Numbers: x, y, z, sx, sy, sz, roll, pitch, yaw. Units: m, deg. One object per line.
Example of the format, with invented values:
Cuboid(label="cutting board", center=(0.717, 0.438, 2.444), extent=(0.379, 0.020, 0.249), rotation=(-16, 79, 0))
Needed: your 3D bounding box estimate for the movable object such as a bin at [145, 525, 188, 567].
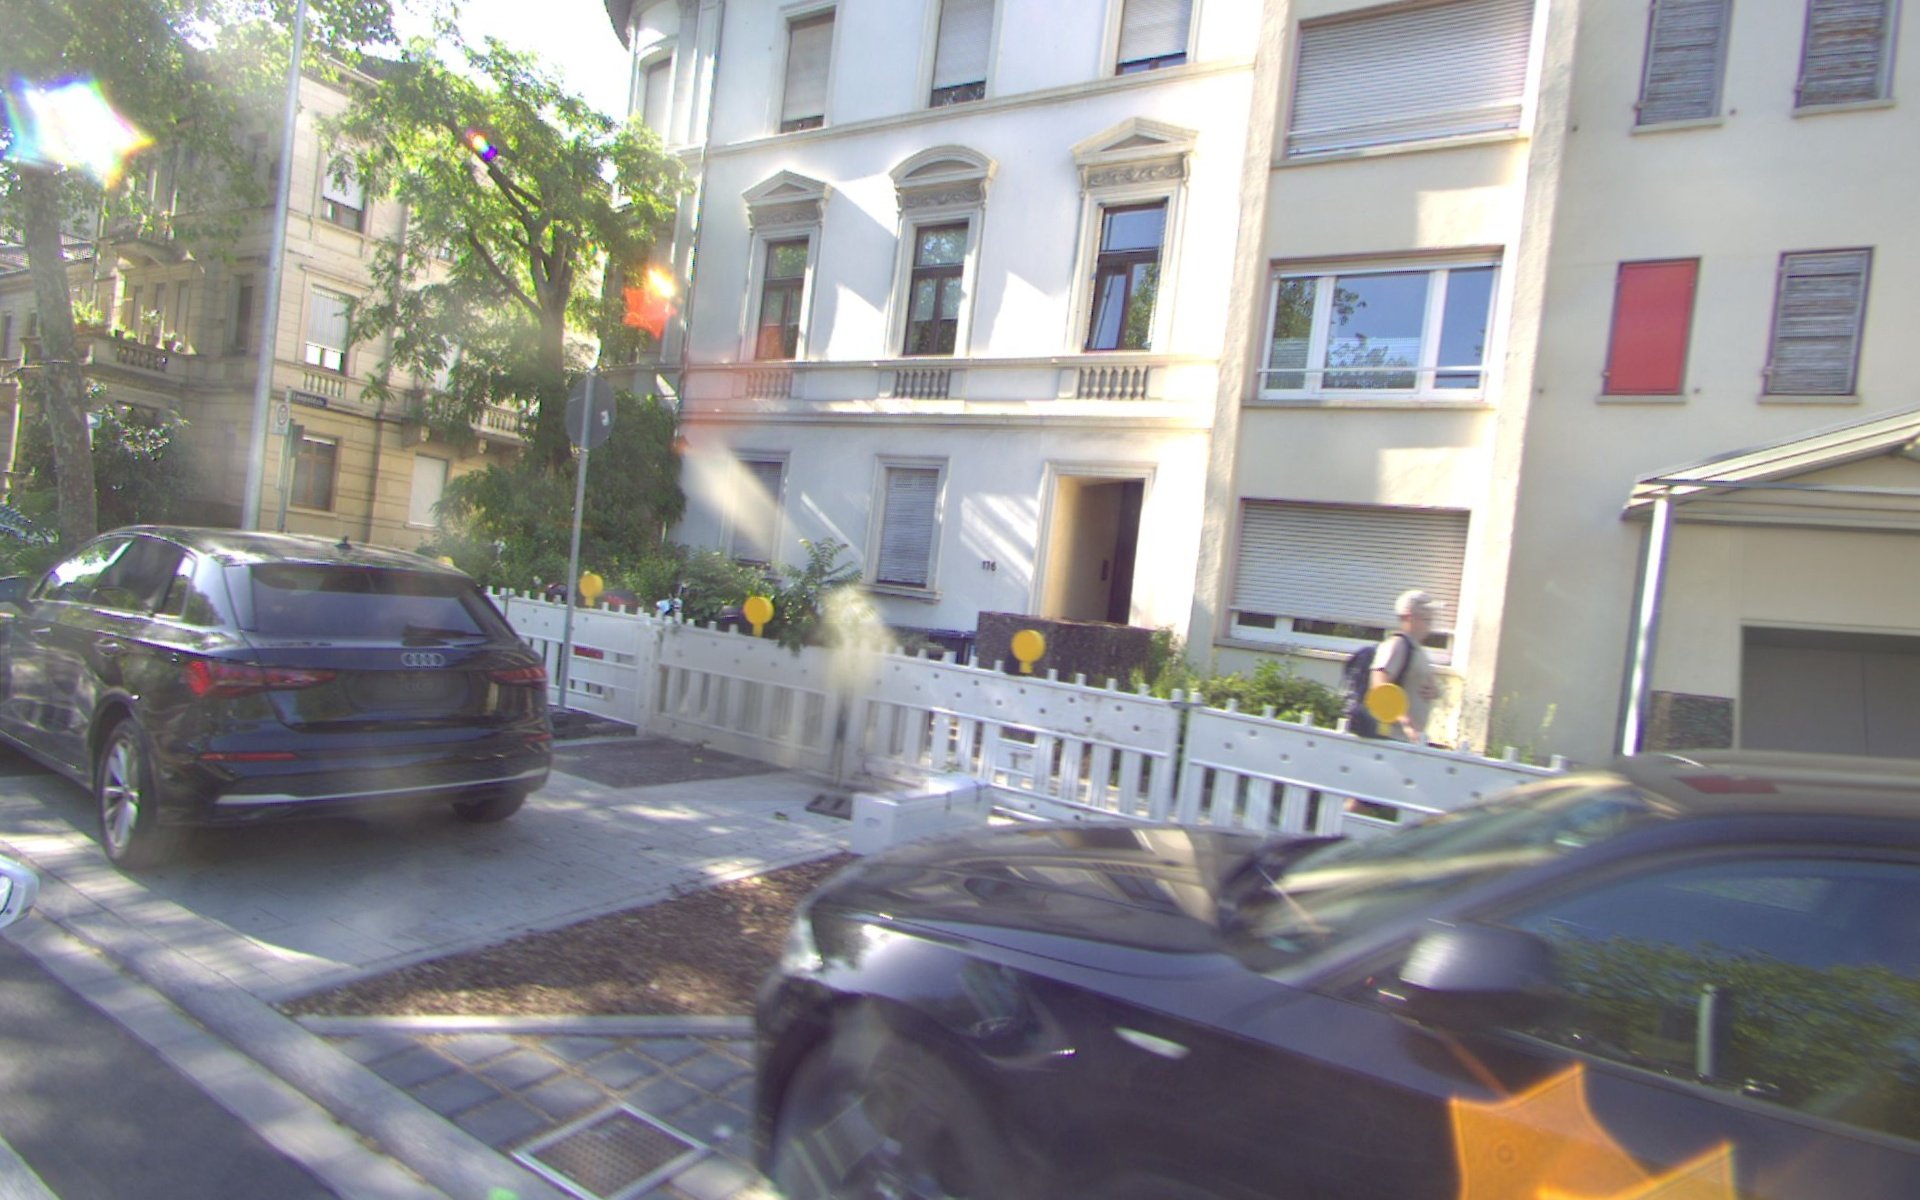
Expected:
Cuboid(label="movable object such as a bin", center=(-20.591, -1.395, 26.113), extent=(0.539, 0.982, 0.687), rotation=(7, 1, 34))

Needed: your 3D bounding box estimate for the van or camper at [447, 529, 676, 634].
Cuboid(label="van or camper", center=(-9.792, -0.370, 25.177), extent=(1.869, 2.038, 5.019), rotation=(7, 0, 33))

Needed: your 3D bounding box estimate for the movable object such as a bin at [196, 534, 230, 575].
Cuboid(label="movable object such as a bin", center=(-19.286, -1.166, 25.977), extent=(0.392, 0.982, 0.519), rotation=(7, 1, 34))

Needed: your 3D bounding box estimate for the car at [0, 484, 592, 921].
Cuboid(label="car", center=(-4.037, 0.263, 5.431), extent=(4.029, 1.505, 1.620), rotation=(7, 2, 32))

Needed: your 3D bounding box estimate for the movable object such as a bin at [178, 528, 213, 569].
Cuboid(label="movable object such as a bin", center=(-19.881, -1.332, 26.162), extent=(0.539, 0.982, 0.519), rotation=(7, 1, 34))

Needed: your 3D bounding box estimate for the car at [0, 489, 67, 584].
Cuboid(label="car", center=(-16.501, -1.145, 15.732), extent=(1.808, 1.504, 4.051), rotation=(6, -1, -10))

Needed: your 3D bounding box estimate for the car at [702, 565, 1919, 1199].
Cuboid(label="car", center=(1.609, 0.917, 1.787), extent=(3.989, 1.505, 1.620), rotation=(7, 2, 32))

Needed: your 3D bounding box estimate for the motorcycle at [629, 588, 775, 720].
Cuboid(label="motorcycle", center=(-2.779, 0.558, 10.772), extent=(1.532, 1.201, 0.596), rotation=(7, 0, 38))

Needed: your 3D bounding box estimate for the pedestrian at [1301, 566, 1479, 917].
Cuboid(label="pedestrian", center=(2.553, 0.791, 5.951), extent=(0.683, 1.873, 0.665), rotation=(7, 2, 31))

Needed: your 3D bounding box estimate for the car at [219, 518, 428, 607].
Cuboid(label="car", center=(-15.972, -0.901, 25.415), extent=(1.842, 1.580, 3.934), rotation=(9, 0, 33))
